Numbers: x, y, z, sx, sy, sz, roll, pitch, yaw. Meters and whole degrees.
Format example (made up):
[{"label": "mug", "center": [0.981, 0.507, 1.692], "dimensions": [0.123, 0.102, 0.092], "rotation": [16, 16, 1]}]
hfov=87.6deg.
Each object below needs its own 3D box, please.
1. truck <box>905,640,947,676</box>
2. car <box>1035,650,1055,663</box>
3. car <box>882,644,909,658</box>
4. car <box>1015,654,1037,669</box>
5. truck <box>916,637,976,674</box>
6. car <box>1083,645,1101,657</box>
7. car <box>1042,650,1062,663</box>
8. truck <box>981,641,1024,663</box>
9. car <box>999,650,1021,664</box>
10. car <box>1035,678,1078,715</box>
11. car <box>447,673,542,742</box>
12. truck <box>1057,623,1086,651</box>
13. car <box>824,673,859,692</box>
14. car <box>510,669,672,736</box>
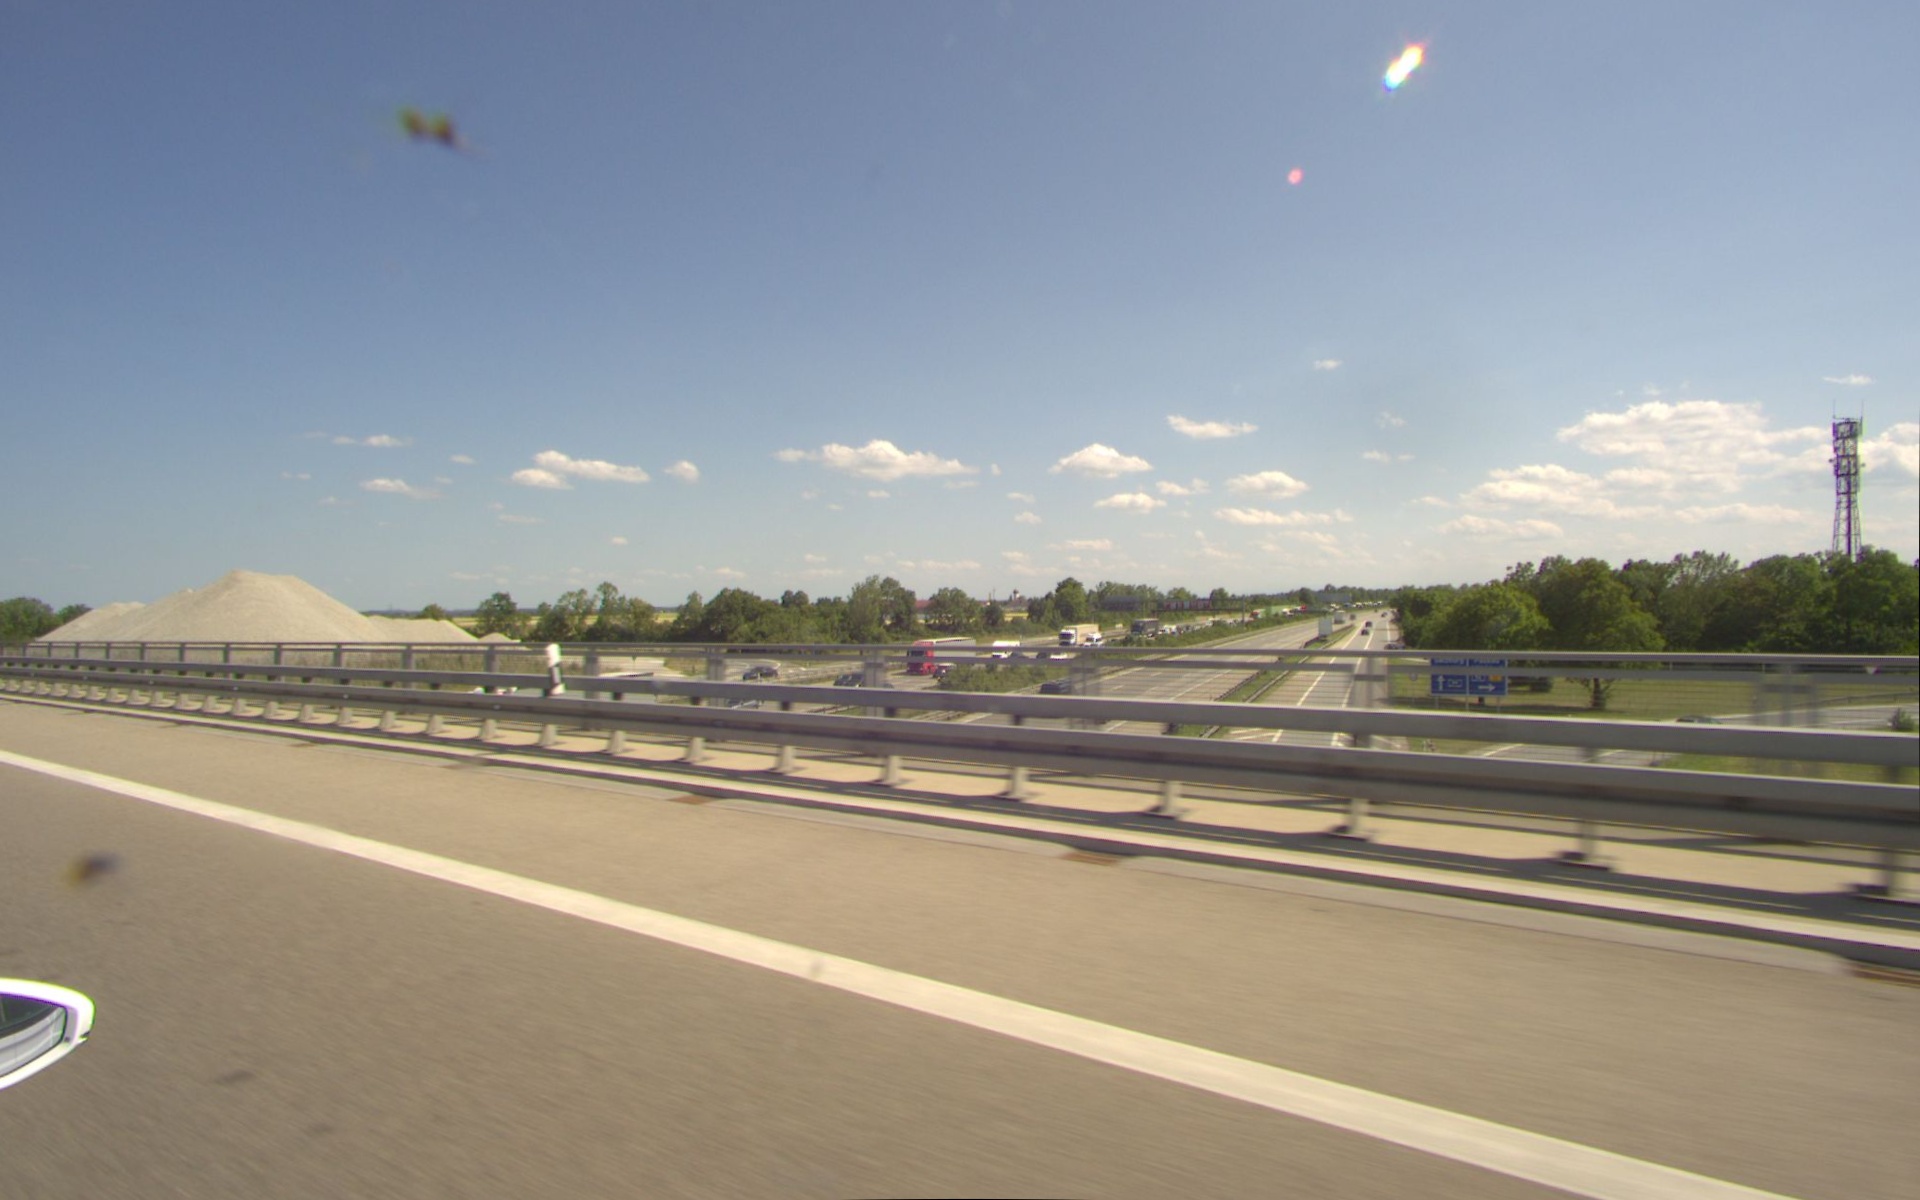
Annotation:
[{"label": "truck", "center": [-4.232, 7.144, 125.074], "dimensions": [2.822, 4.119, 5.938], "rotation": [0, 1, 24]}, {"label": "car", "center": [13.231, 8.756, 155.868], "dimensions": [1.830, 1.757, 4.336], "rotation": [-1, -1, 22]}, {"label": "car", "center": [-8.651, 6.797, 134.728], "dimensions": [1.830, 1.757, 4.336], "rotation": [-1, -1, 22]}, {"label": "car", "center": [8.926, 8.283, 134.991], "dimensions": [1.830, 1.757, 4.336], "rotation": [-1, -1, 22]}, {"label": "truck", "center": [-1.632, 7.158, 130.934], "dimensions": [2.822, 4.119, 12.536], "rotation": [0, 1, 24]}, {"label": "car", "center": [23.707, 9.163, 179.605], "dimensions": [1.966, 2.040, 4.685], "rotation": [-1, -1, 22]}, {"label": "car", "center": [13.747, 8.434, 148.823], "dimensions": [1.830, 1.757, 4.336], "rotation": [-1, -1, 22]}, {"label": "truck", "center": [6.567, 7.822, 151.645], "dimensions": [3.099, 3.099, 10.020], "rotation": [-1, -1, 24]}, {"label": "car", "center": [7.224, 8.182, 143.879], "dimensions": [1.830, 1.757, 4.336], "rotation": [-1, -1, 22]}, {"label": "car", "center": [7.630, 7.565, 78.772], "dimensions": [2.103, 2.479, 5.038], "rotation": [-1, -1, 21]}, {"label": "car", "center": [-29.706, 6.782, 64.121], "dimensions": [2.443, 4.014, 5.146], "rotation": [-1, -2, 25]}, {"label": "truck", "center": [20.360, 6.688, 181.724], "dimensions": [3.098, 4.836, 8.223], "rotation": [0, -1, 22]}, {"label": "car", "center": [-12.660, 8.775, 107.008], "dimensions": [1.830, 1.757, 4.336], "rotation": [-1, -1, 22]}, {"label": "car", "center": [-26.056, 7.134, 71.935], "dimensions": [2.442, 4.013, 12.977], "rotation": [-1, -2, 25]}]
